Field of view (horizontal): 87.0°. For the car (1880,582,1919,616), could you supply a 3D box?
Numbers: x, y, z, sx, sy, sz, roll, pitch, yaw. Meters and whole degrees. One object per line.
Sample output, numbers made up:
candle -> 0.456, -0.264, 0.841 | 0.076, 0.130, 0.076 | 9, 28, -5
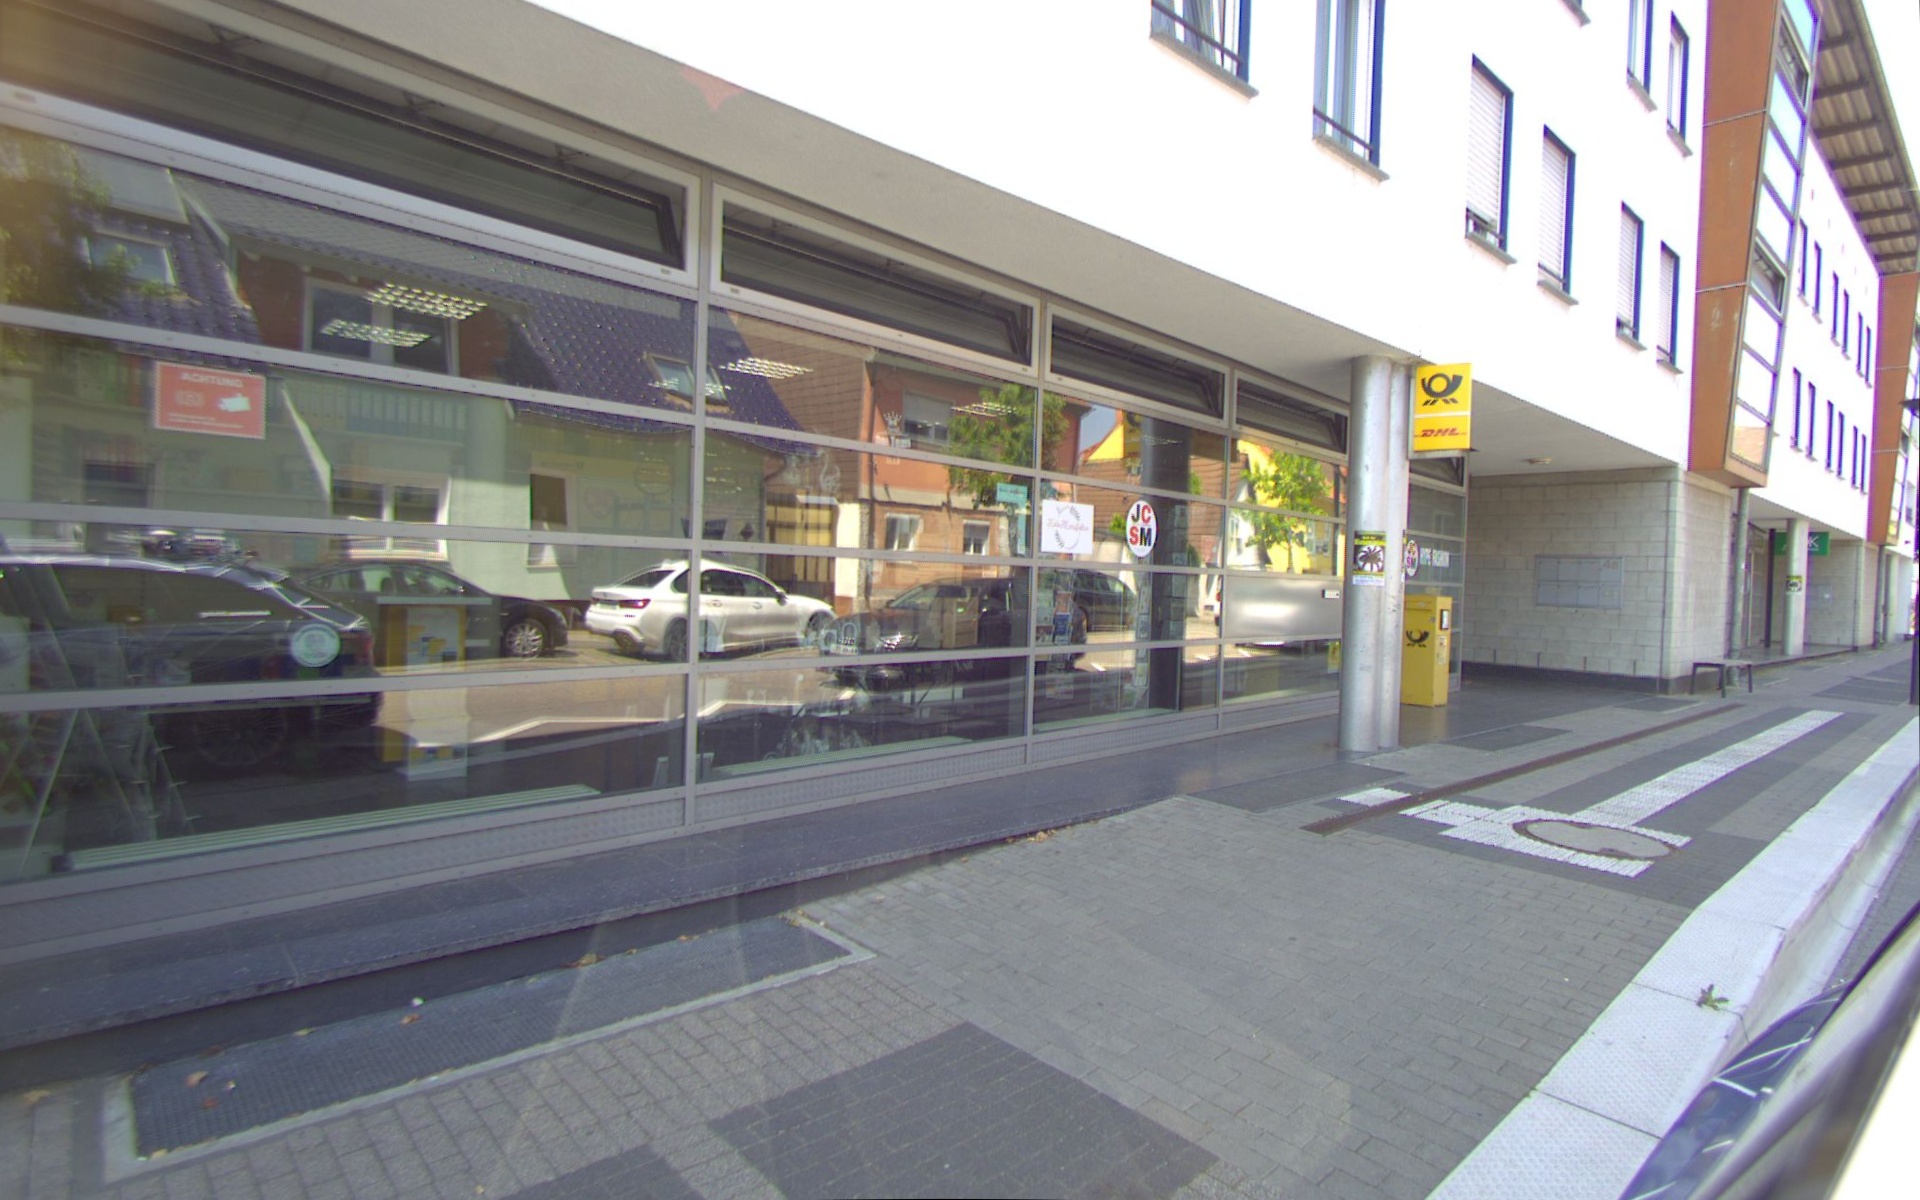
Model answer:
car -> 55.890, 0.016, 58.197 | 1.966, 1.882, 4.200 | 0, 3, -42
